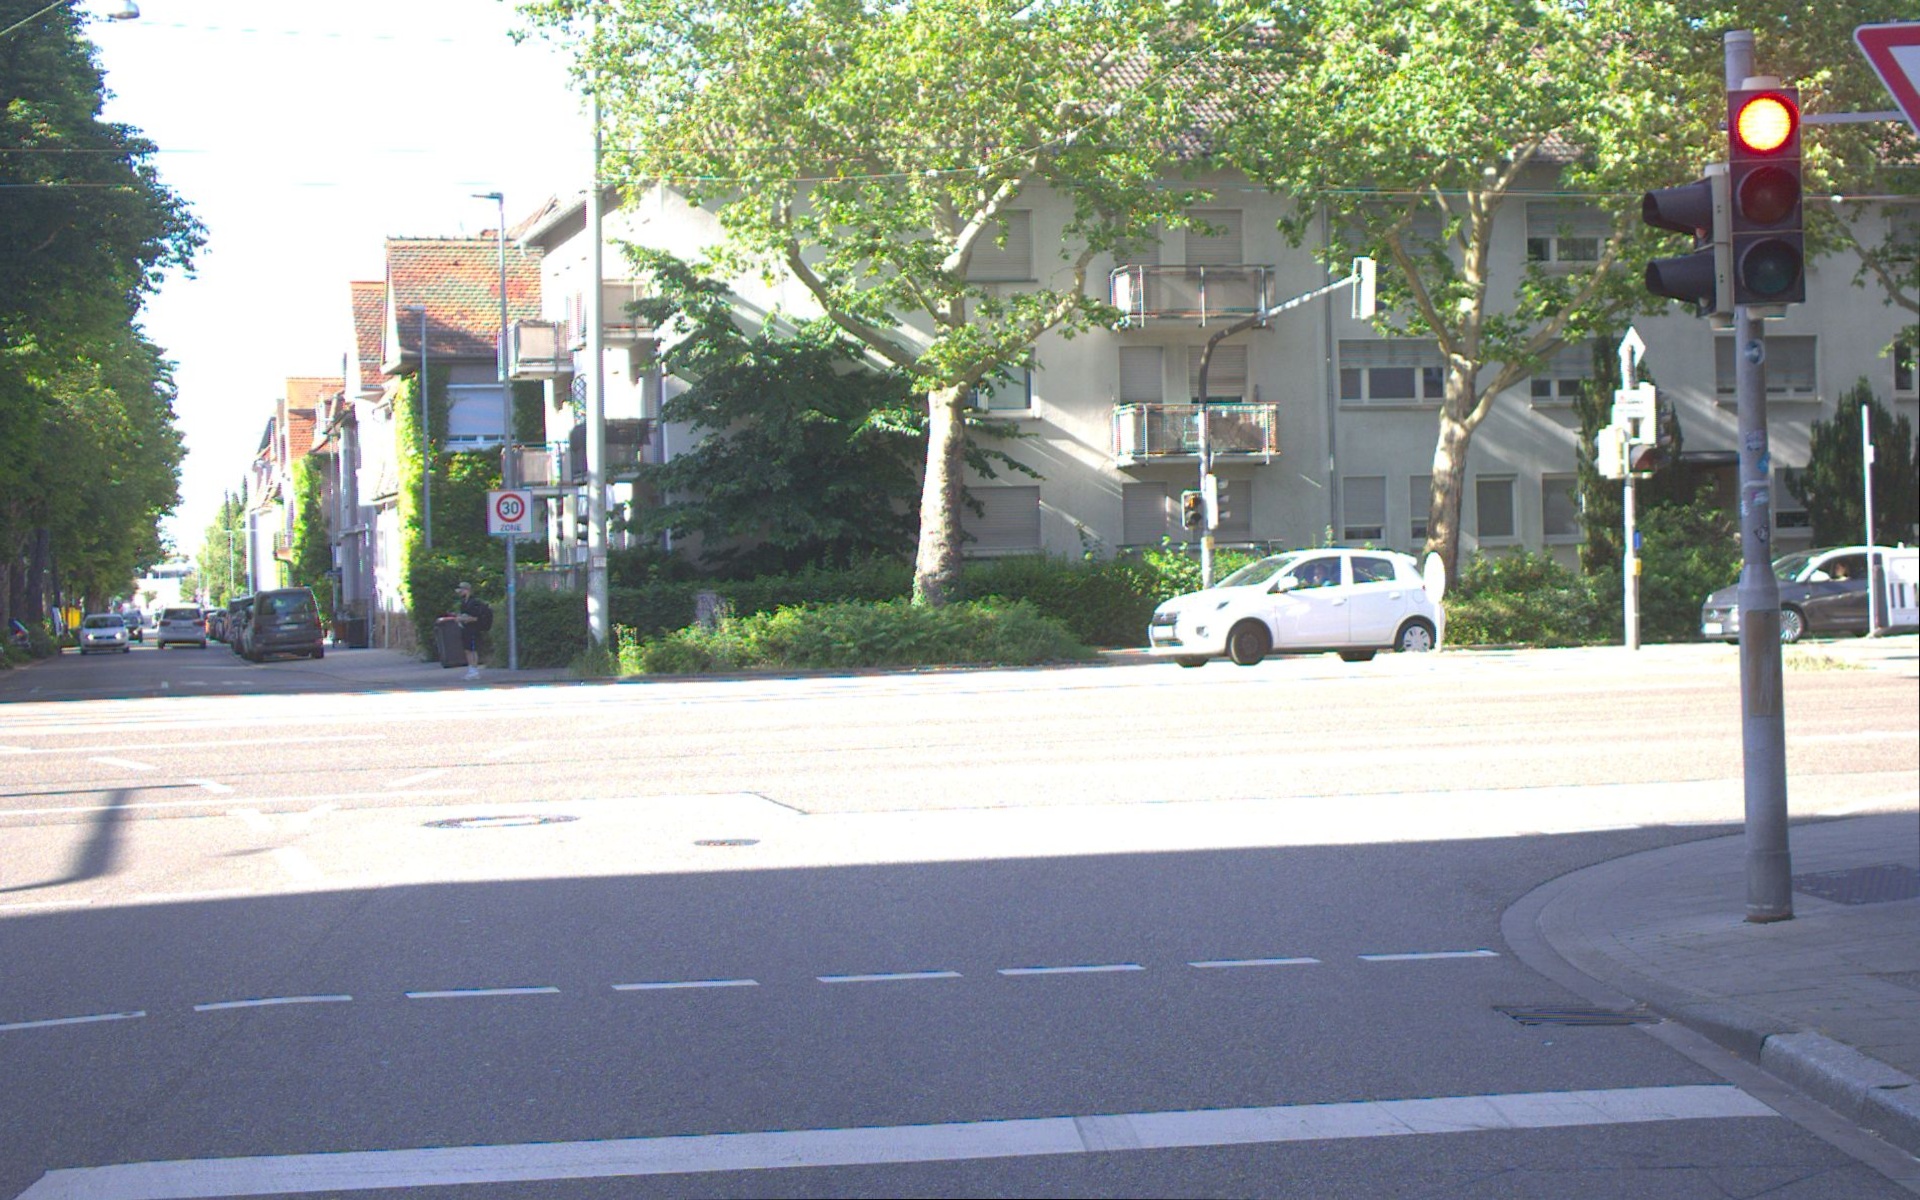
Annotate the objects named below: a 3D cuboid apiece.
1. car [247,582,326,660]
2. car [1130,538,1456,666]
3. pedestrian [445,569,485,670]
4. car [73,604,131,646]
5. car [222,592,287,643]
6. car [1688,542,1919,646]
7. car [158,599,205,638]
[{"bbox_3d":[-18.470,0.555,94.458,1.993,2.007,4.001,-2,1,-10],"label":"car"},{"bbox_3d":[4.253,0.011,43.969,3.786,1.467,1.630,-2,1,-22],"label":"car"},{"bbox_3d":[-8.646,0.342,60.086,0.633,1.744,0.659,-1,0,-4],"label":"pedestrian"},{"bbox_3d":[-31.685,0.910,126.902,1.993,1.441,4.001,-2,1,-15],"label":"car"},{"bbox_3d":[-25.660,0.631,125.019,1.993,1.826,4.001,-1,0,-16],"label":"car"},{"bbox_3d":[13.154,-0.106,53.172,3.379,1.482,1.525,-2,1,-22],"label":"car"},{"bbox_3d":[-30.415,0.712,134.236,1.673,1.477,3.523,-2,0,-14],"label":"car"}]
